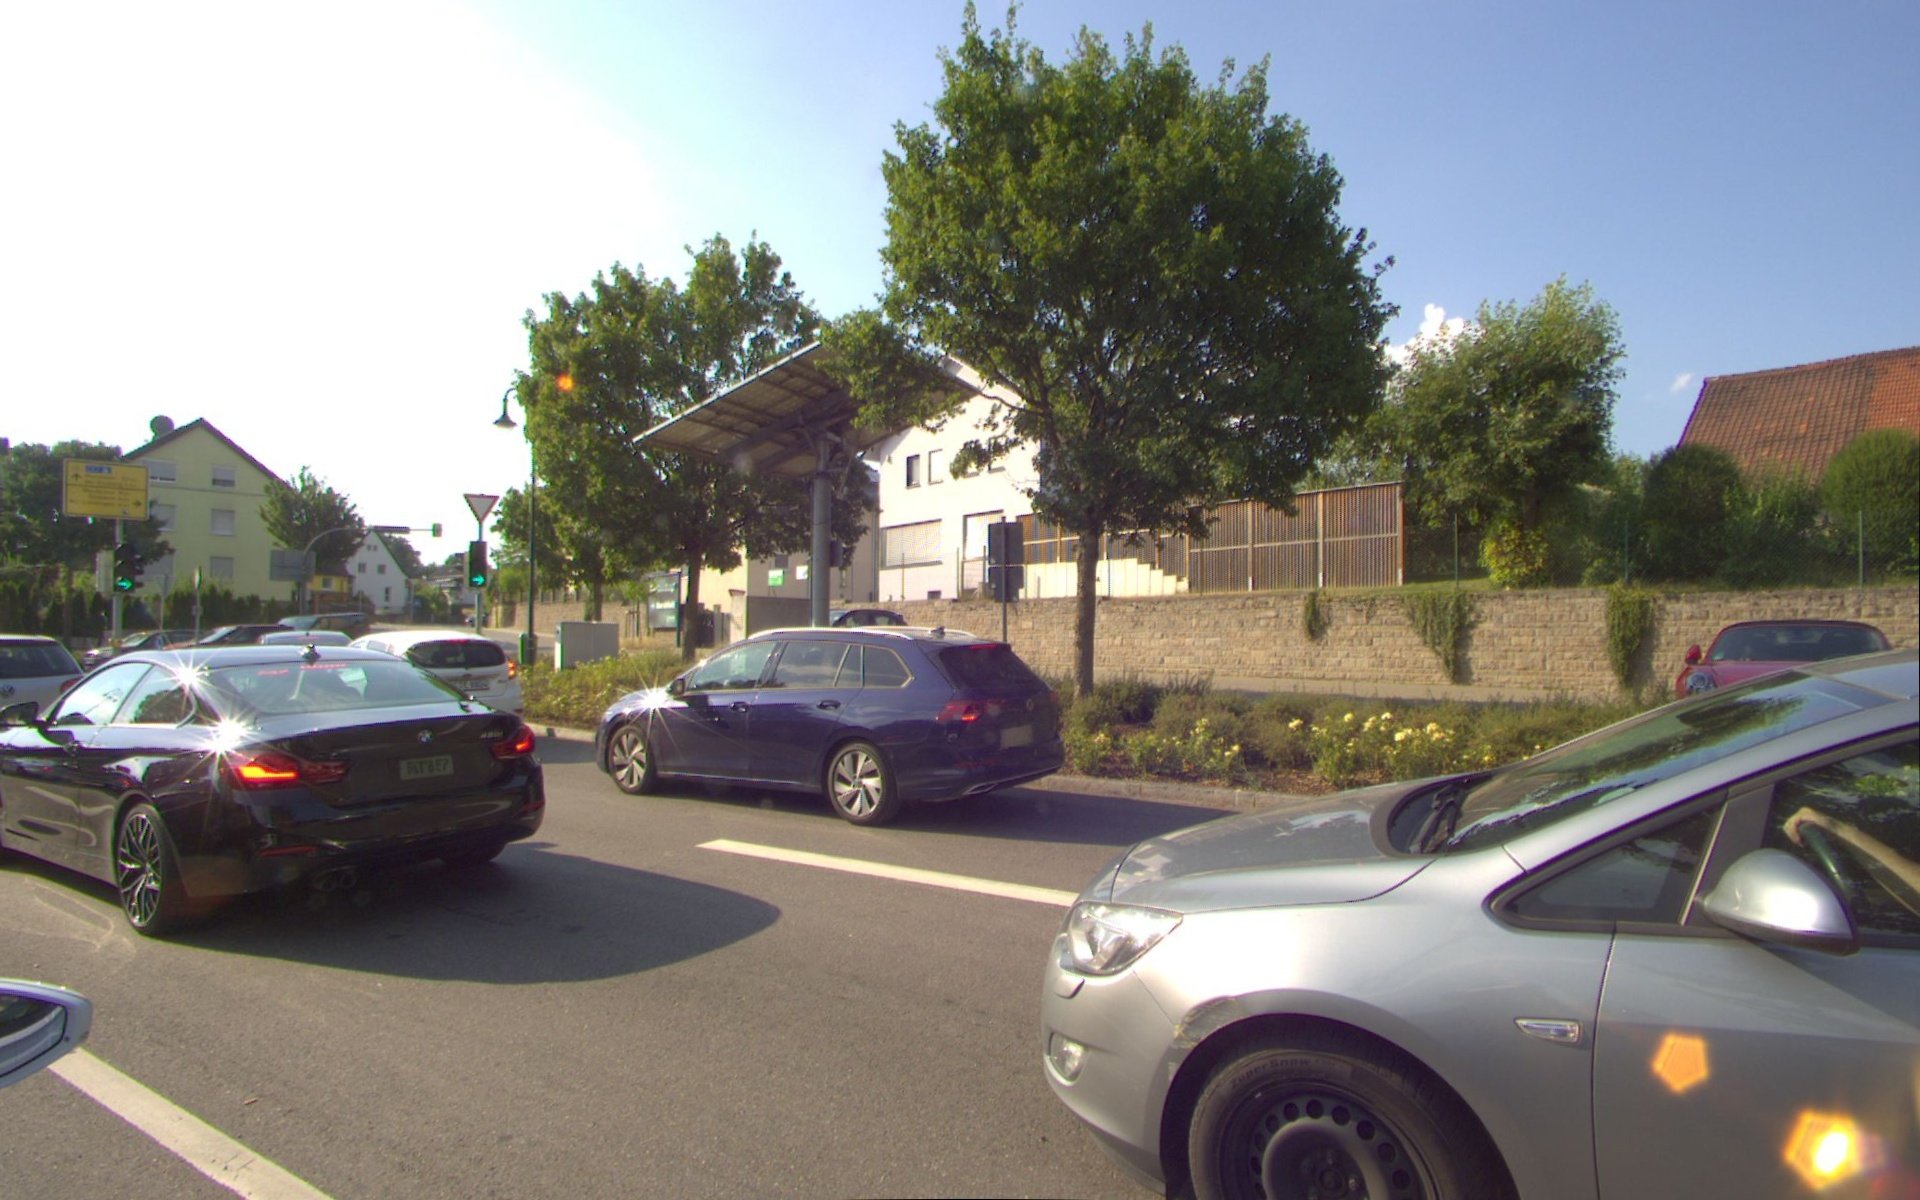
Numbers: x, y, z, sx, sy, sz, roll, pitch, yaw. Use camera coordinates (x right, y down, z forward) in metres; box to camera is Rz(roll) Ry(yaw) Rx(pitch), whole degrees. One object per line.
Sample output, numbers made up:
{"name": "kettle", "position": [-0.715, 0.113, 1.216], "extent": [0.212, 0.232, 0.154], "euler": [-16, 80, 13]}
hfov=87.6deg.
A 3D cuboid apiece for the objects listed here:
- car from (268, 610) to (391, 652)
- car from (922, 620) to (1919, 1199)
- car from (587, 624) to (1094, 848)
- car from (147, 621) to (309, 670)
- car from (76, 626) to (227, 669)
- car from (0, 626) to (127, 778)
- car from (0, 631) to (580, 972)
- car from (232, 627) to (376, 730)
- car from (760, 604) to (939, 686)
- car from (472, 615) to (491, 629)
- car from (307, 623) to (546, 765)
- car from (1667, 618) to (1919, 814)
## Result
{"name": "car", "position": [-28.356, 1.399, 45.260], "extent": [1.814, 1.761, 4.782], "euler": [0, -2, 14]}
{"name": "car", "position": [2.172, 0.792, 2.170], "extent": [4.256, 1.472, 1.758], "euler": [-1, 0, 31]}
{"name": "car", "position": [-1.152, 0.959, 8.648], "extent": [4.259, 1.472, 1.757], "euler": [-1, 0, 34]}
{"name": "car", "position": [-26.490, 1.612, 36.417], "extent": [1.818, 1.662, 4.418], "euler": [0, -2, 25]}
{"name": "car", "position": [-30.076, 1.732, 37.370], "extent": [1.821, 1.508, 3.983], "euler": [-1, -2, 30]}
{"name": "car", "position": [-10.807, 1.021, 10.787], "extent": [3.848, 1.444, 1.758], "euler": [-1, 0, 33]}
{"name": "car", "position": [-4.436, 0.924, 6.195], "extent": [4.220, 1.416, 1.758], "euler": [-1, 0, 33]}
{"name": "car", "position": [-11.755, 1.283, 17.822], "extent": [1.643, 1.562, 4.362], "euler": [0, 0, -40]}
{"name": "car", "position": [-2.380, 0.977, 22.306], "extent": [1.758, 1.653, 3.800], "euler": [-1, -2, 40]}
{"name": "car", "position": [-62.257, 2.868, 130.373], "extent": [1.939, 1.701, 4.202], "euler": [0, -1, -23]}
{"name": "car", "position": [-6.919, 1.092, 12.896], "extent": [3.278, 1.562, 1.611], "euler": [-1, 0, 40]}
{"name": "car", "position": [8.223, 0.966, 9.754], "extent": [1.758, 1.510, 4.120], "euler": [-1, -2, 41]}
